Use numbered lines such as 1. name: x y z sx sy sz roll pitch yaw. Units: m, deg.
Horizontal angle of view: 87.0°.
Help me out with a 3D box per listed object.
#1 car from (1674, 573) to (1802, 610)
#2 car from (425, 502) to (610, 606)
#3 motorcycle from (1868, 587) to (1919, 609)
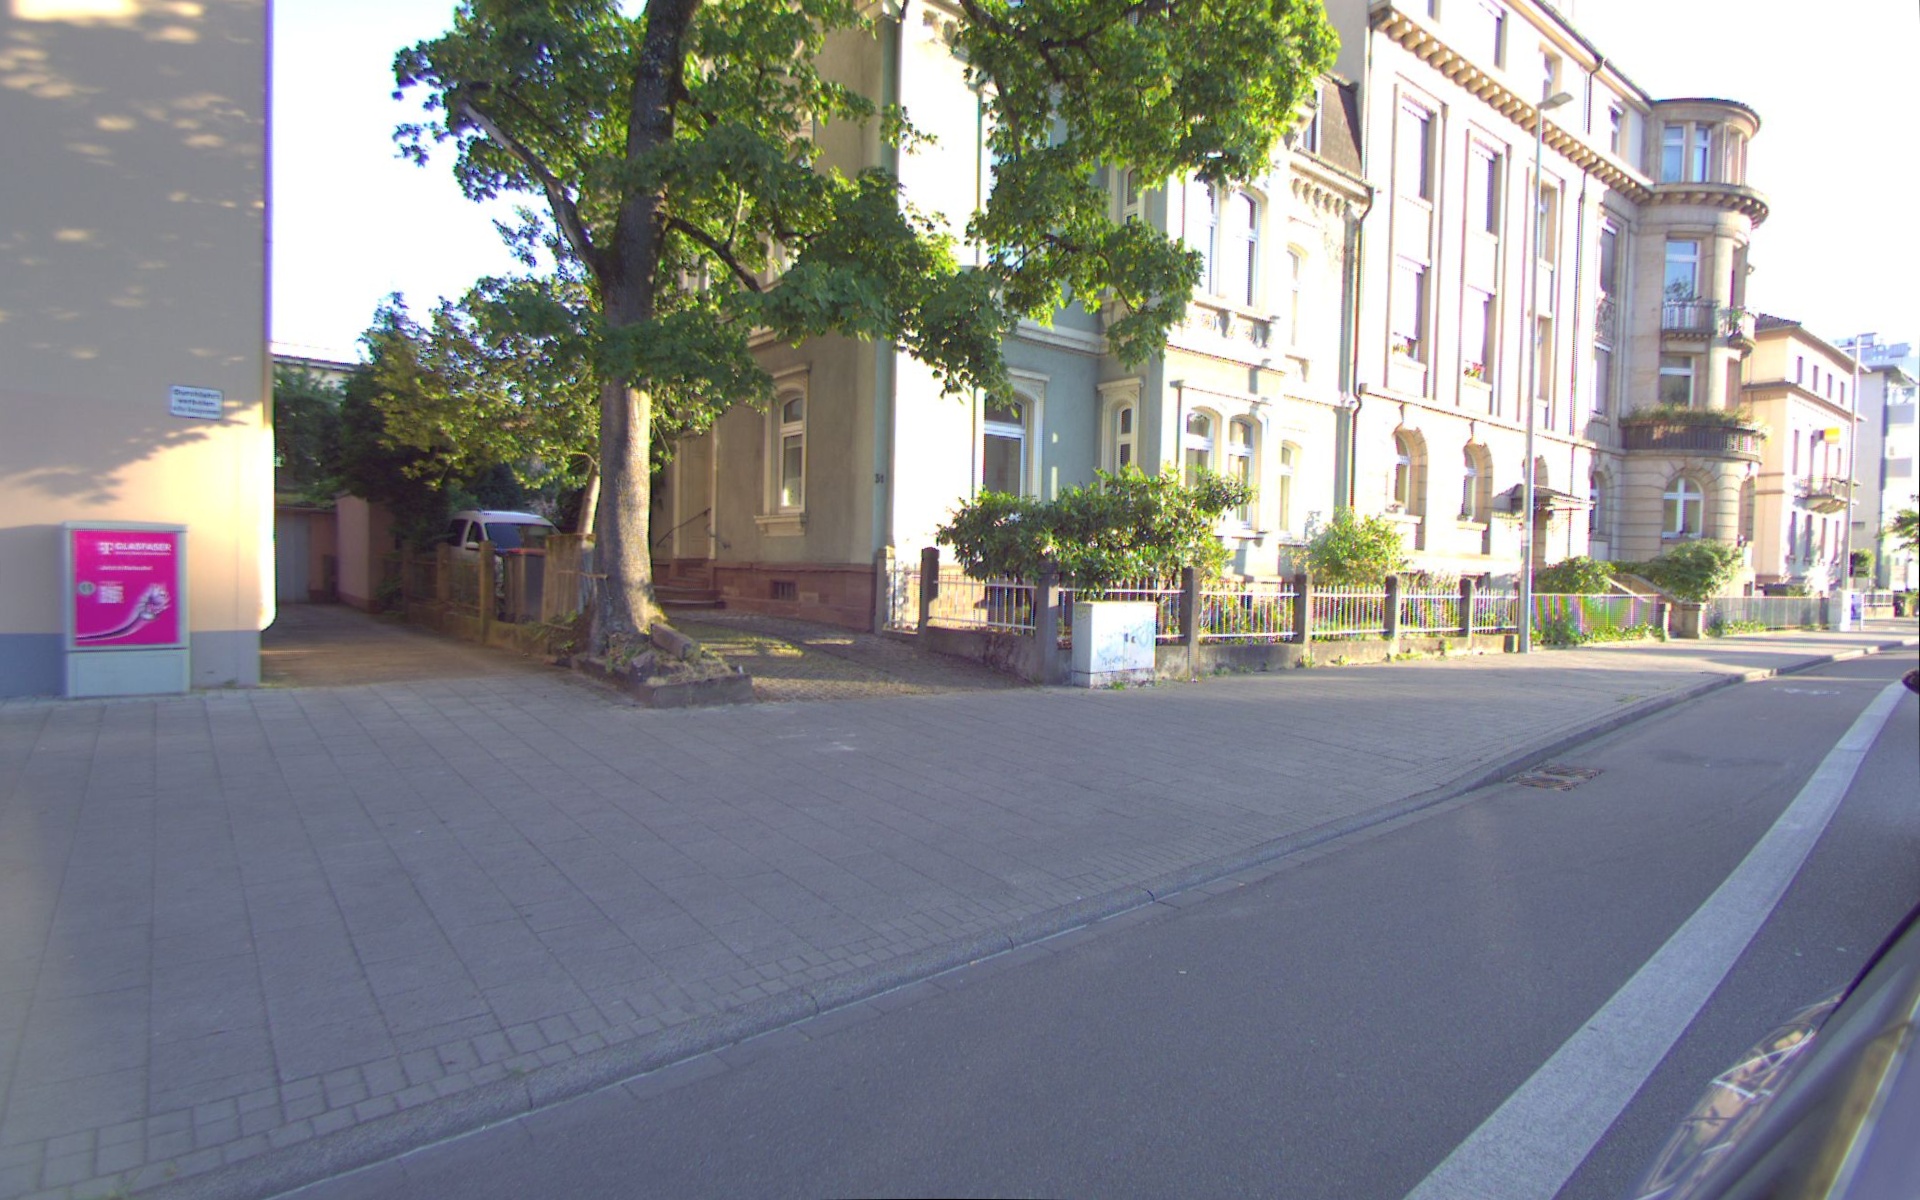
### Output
1. car: 34.042 -0.417 44.343 1.903 1.499 4.098 0 2 -38
2. car: -8.657 -0.937 19.589 1.795 1.778 4.513 1 3 -44
3. motorcycle: 48.300 -0.120 52.349 0.564 1.110 1.851 0 1 -33
